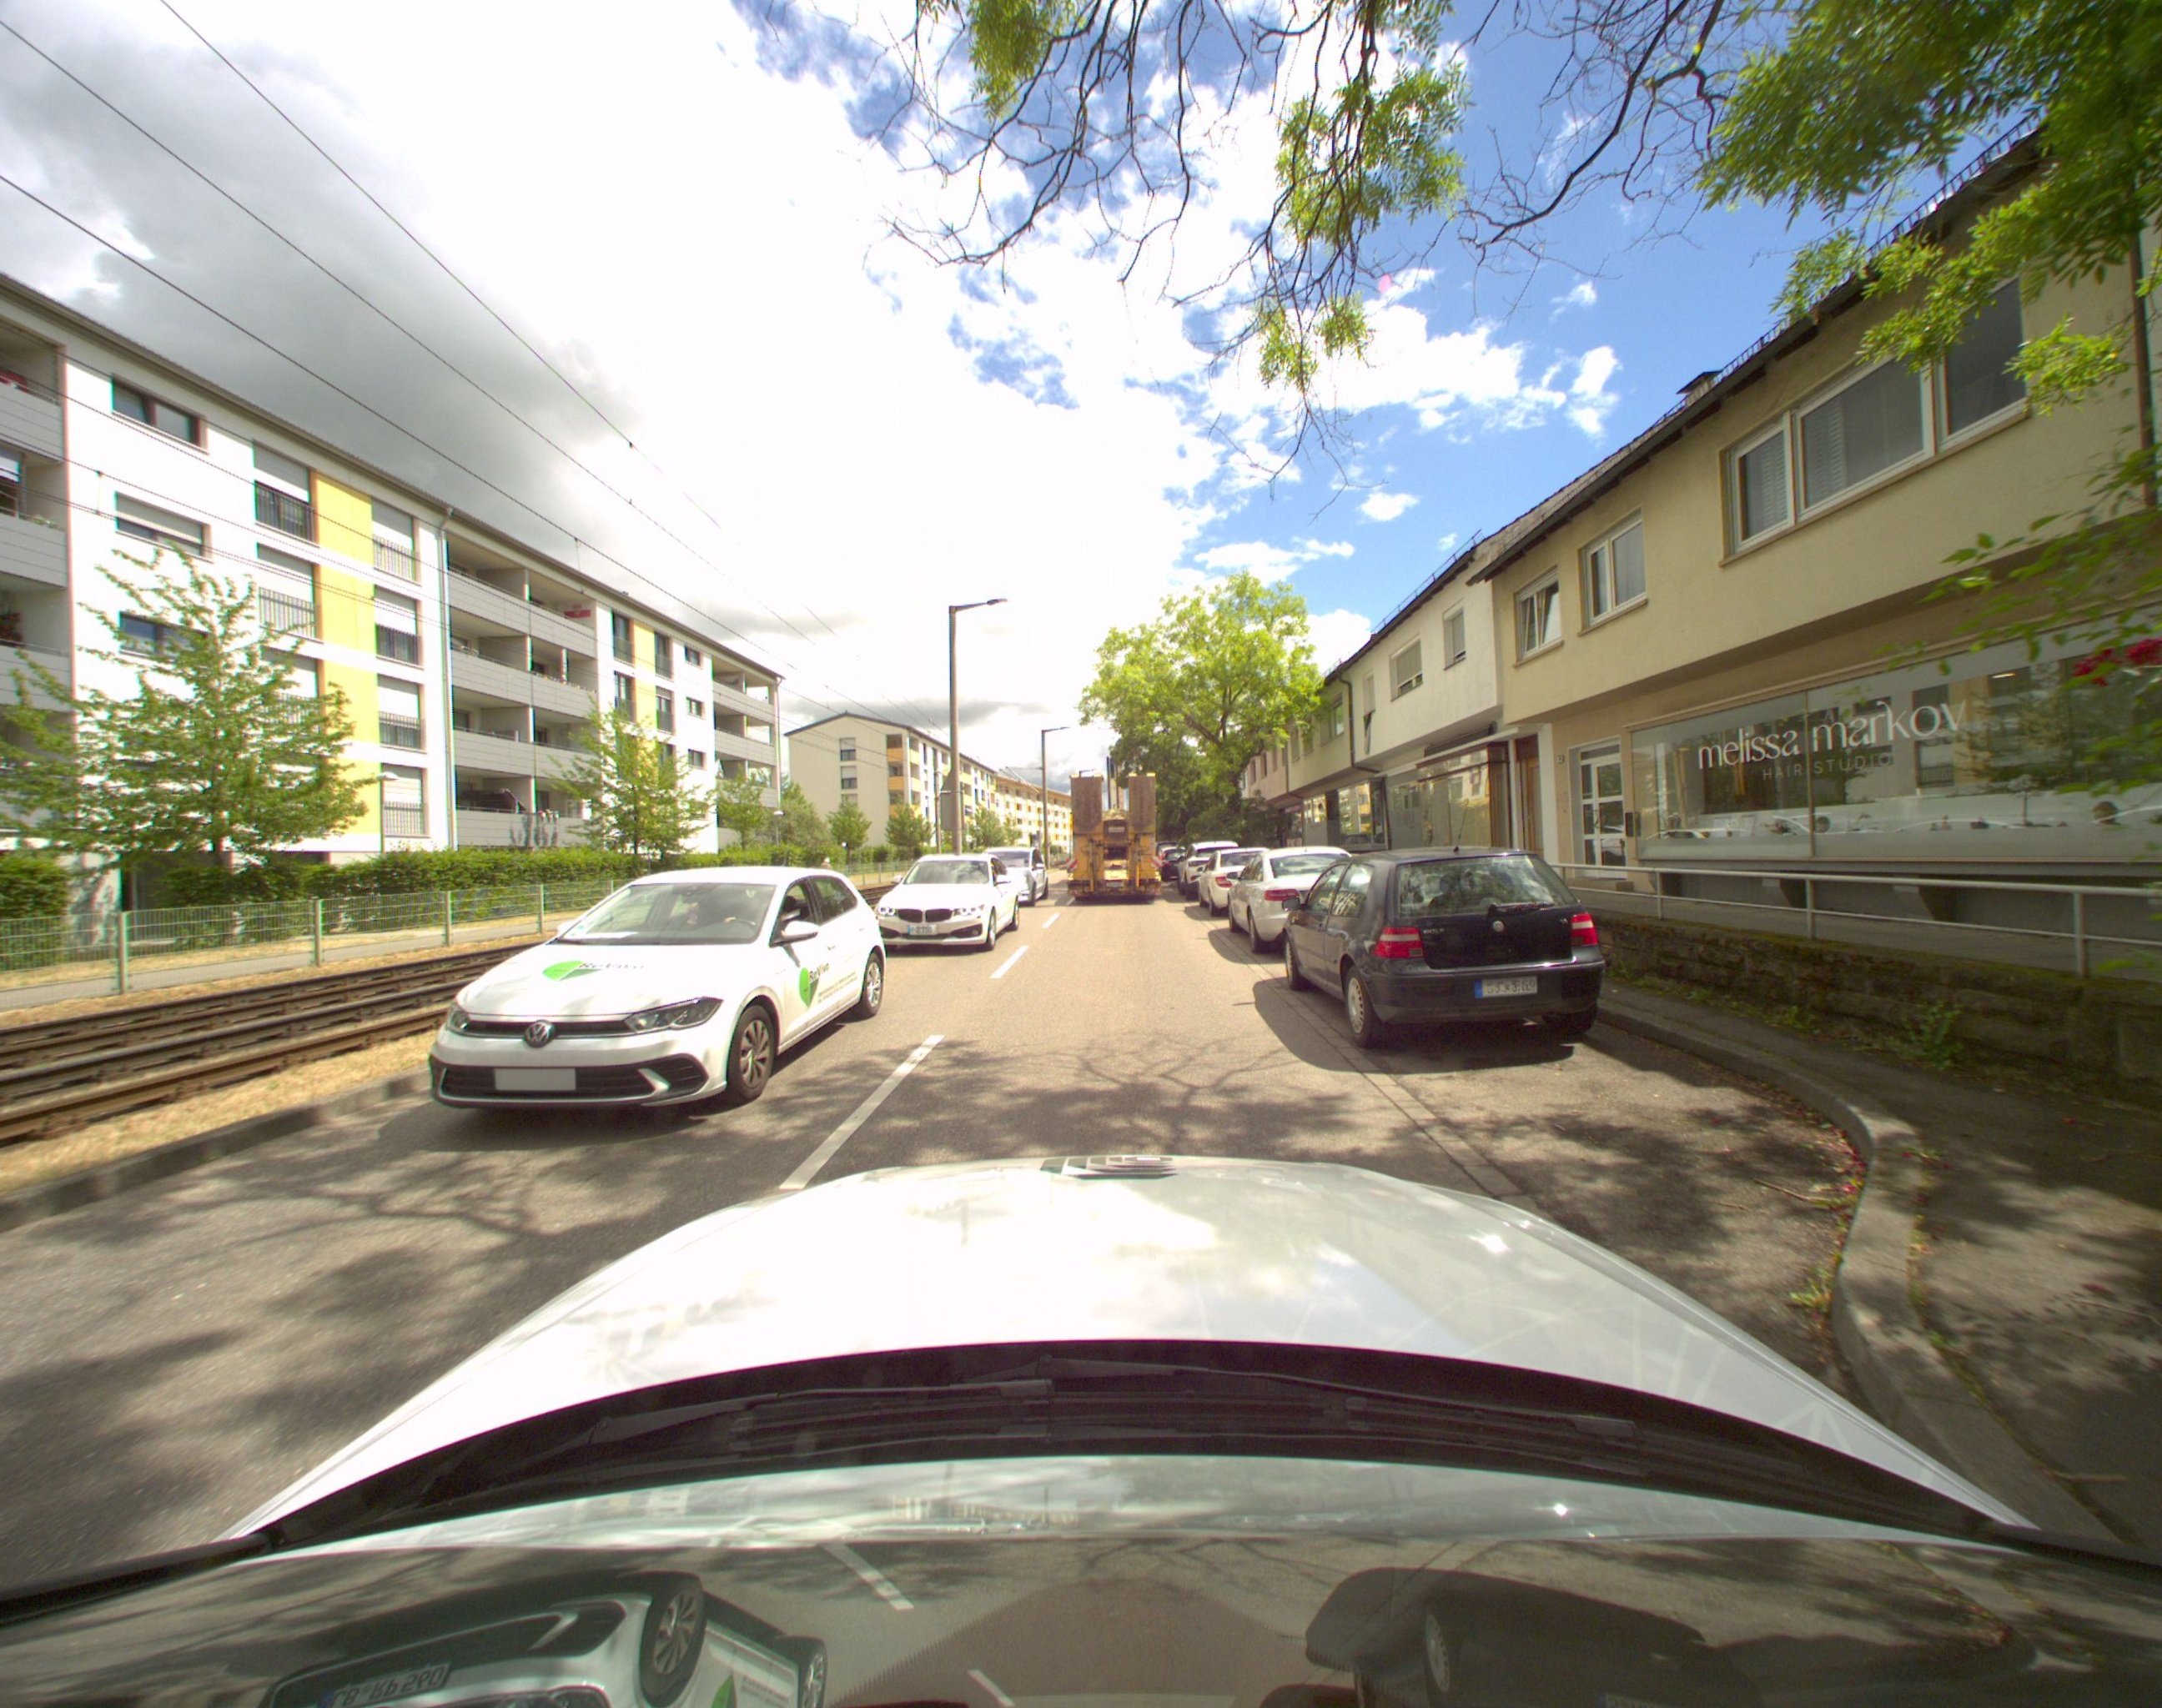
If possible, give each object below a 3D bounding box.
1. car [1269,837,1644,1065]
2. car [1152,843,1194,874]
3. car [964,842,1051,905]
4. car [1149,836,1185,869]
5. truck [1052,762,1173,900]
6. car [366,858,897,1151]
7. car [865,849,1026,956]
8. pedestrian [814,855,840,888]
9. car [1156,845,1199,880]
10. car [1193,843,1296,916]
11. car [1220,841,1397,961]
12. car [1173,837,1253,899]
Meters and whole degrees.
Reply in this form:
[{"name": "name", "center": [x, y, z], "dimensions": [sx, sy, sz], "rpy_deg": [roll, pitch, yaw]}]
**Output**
[{"name": "car", "center": [2.932, 0.625, 7.387], "dimensions": [1.805, 1.463, 4.047], "rpy_deg": [-2, 1, 5]}, {"name": "car", "center": [4.723, 0.208, 42.416], "dimensions": [1.765, 1.442, 3.901], "rpy_deg": [-4, 0, 1]}, {"name": "car", "center": [-1.988, 0.481, 23.401], "dimensions": [1.809, 1.613, 4.605], "rpy_deg": [-1, 1, 3]}, {"name": "car", "center": [5.118, -0.131, 49.021], "dimensions": [2.006, 1.788, 5.083], "rpy_deg": [-3, 0, 5]}, {"name": "truck", "center": [1.179, -0.680, 27.831], "dimensions": [3.111, 3.564, 12.471], "rpy_deg": [-2, 1, 3]}, {"name": "car", "center": [-2.789, 0.798, 6.215], "dimensions": [1.740, 1.406, 3.941], "rpy_deg": [-2, 1, 1]}, {"name": "car", "center": [-2.134, 0.686, 14.232], "dimensions": [1.810, 1.502, 4.840], "rpy_deg": [-1, 1, 2]}, {"name": "pedestrian", "center": [-11.808, 0.808, 37.865], "dimensions": [0.793, 1.483, 0.996], "rpy_deg": [-2, 0, 2]}, {"name": "car", "center": [4.385, 0.332, 36.877], "dimensions": [1.762, 1.349, 4.008], "rpy_deg": [-4, 0, 7]}, {"name": "car", "center": [3.657, 0.497, 18.910], "dimensions": [1.717, 1.426, 4.450], "rpy_deg": [-2, 1, 4]}, {"name": "car", "center": [3.347, 0.576, 12.948], "dimensions": [1.805, 1.498, 4.918], "rpy_deg": [-2, 1, 5]}, {"name": "car", "center": [3.837, 0.361, 24.307], "dimensions": [1.830, 1.643, 4.433], "rpy_deg": [-2, 1, 3]}]
